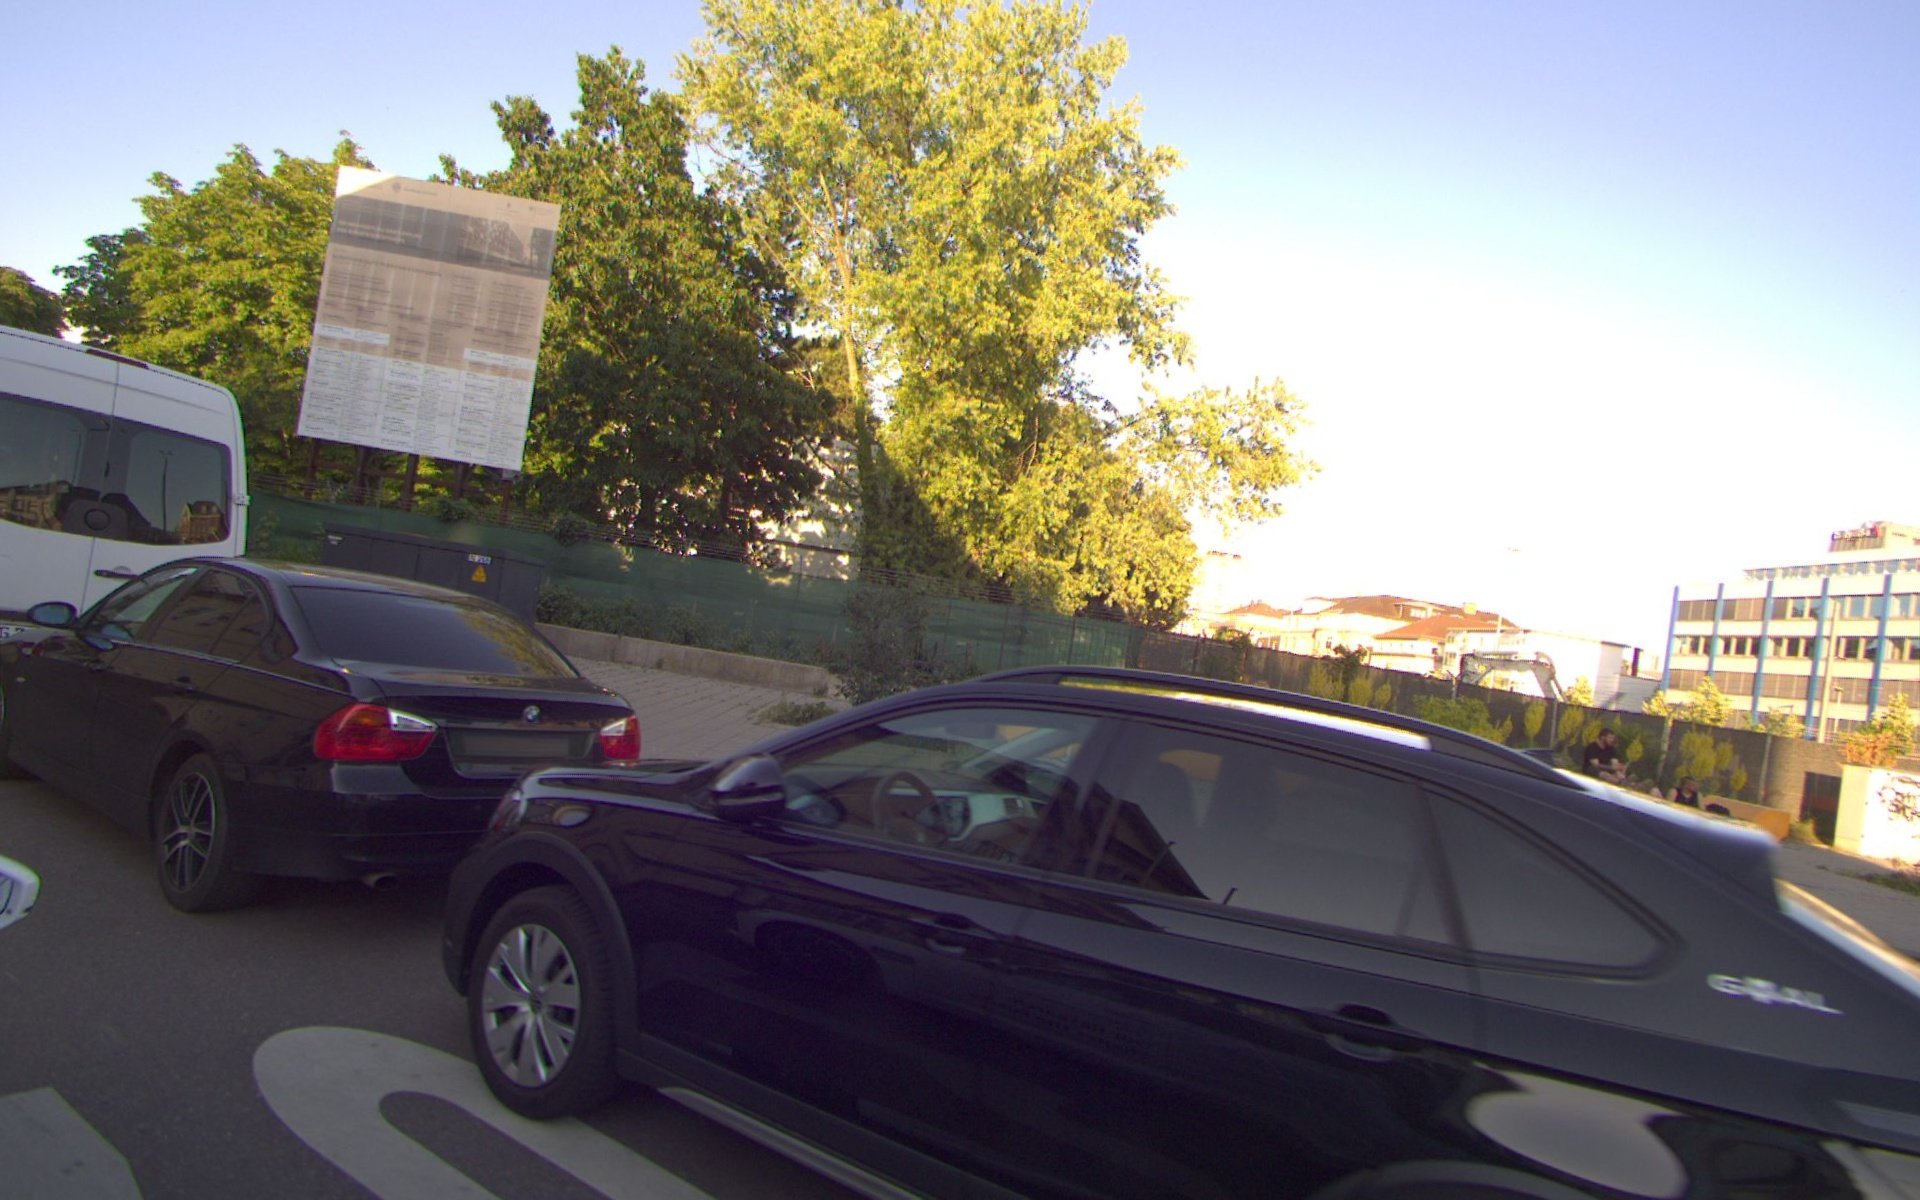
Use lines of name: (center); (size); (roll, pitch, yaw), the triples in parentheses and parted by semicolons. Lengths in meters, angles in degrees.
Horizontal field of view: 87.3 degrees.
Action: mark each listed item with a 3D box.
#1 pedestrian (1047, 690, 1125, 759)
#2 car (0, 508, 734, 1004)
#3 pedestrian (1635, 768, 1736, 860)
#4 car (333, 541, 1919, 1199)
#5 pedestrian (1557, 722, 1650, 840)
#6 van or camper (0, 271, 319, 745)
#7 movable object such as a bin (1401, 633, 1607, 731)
pedestrian: (1.979, 1.950, 15.801); (0.968, 0.903, 0.559); (9, -2, -21)
car: (-3.470, 0.501, 5.283); (4.401, 1.445, 1.733); (7, -3, 33)
pedestrian: (11.307, 3.325, 15.709); (0.721, 1.171, 0.991); (8, -2, 0)
car: (0.330, 0.912, 2.906); (4.219, 1.560, 1.783); (7, -2, 31)
pedestrian: (10.299, 2.873, 16.128); (0.750, 1.684, 0.823); (8, -1, 1)
van or camper: (-8.054, -0.762, 8.293); (6.347, 2.806, 2.080); (7, -2, 35)
movable object such as a bin: (15.724, 2.363, 29.429); (4.935, 2.036, 2.000); (8, -2, 26)
